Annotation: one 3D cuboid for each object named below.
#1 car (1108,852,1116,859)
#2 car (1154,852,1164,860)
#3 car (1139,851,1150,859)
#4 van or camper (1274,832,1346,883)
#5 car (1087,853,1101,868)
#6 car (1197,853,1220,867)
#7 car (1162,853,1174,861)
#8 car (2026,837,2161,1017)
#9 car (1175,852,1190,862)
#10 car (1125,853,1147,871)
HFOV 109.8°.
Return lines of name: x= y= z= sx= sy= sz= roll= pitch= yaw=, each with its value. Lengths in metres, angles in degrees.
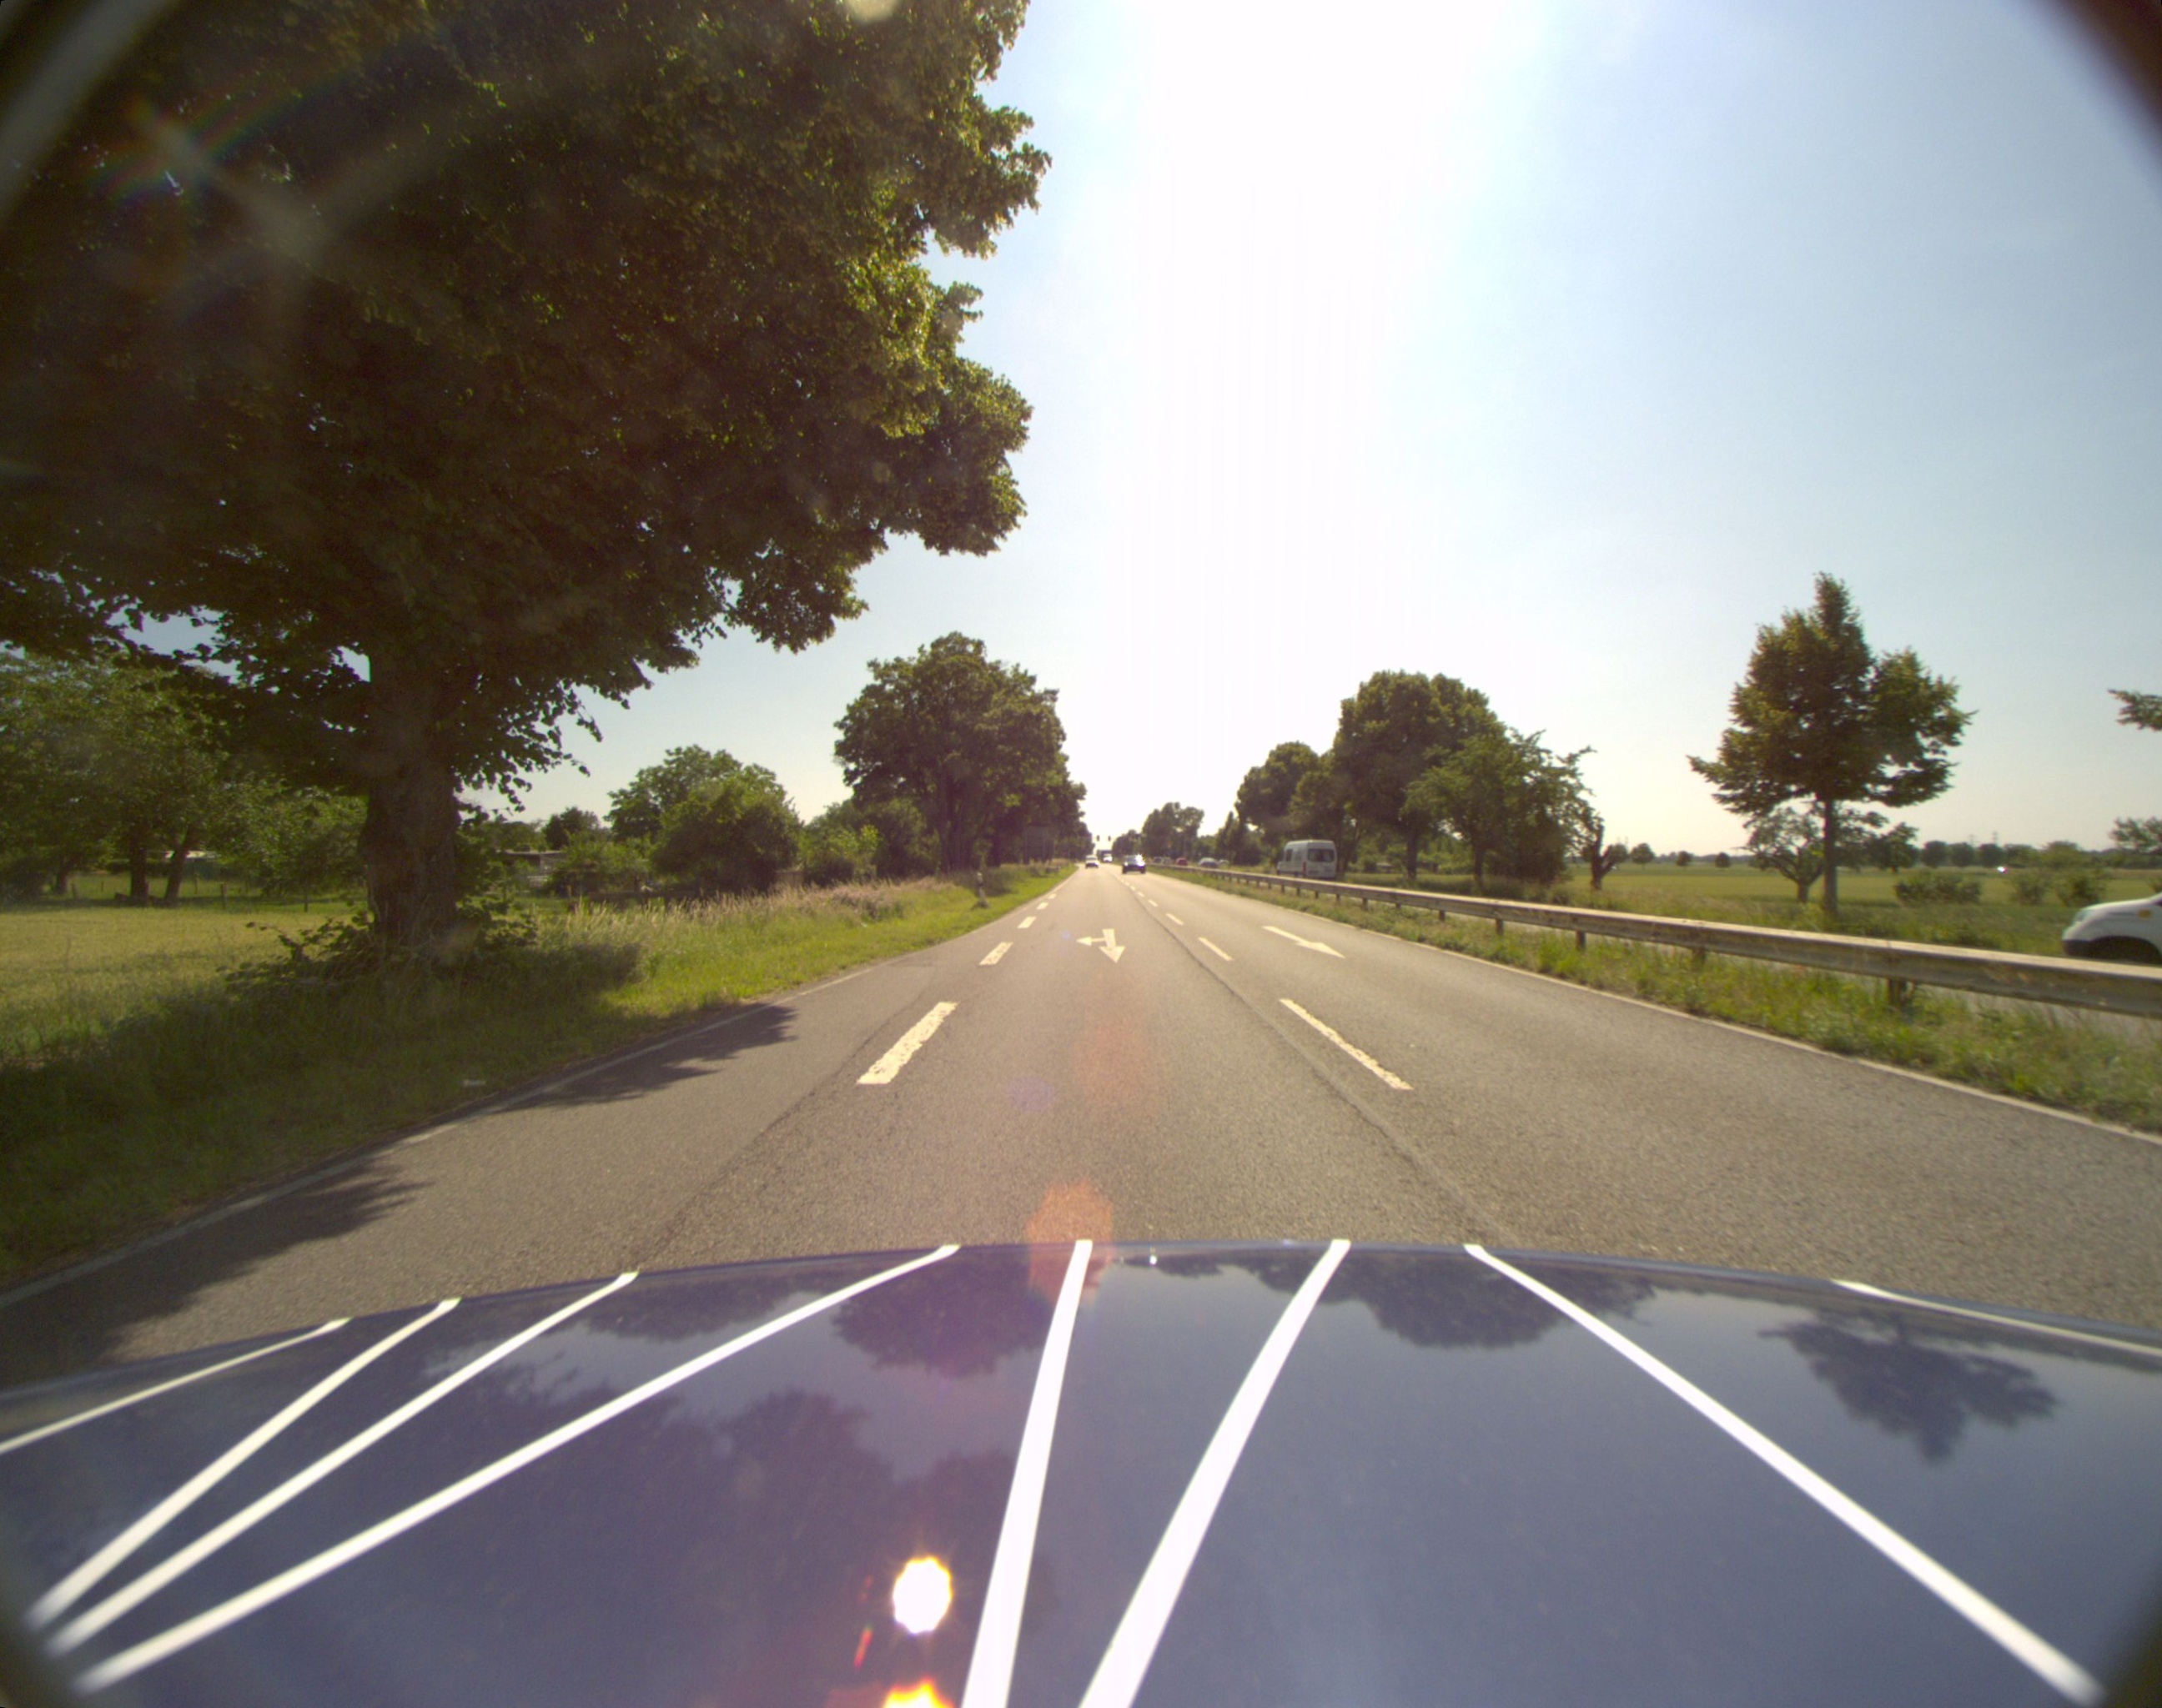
car: x=7.712 y=0.270 z=192.227 sx=1.886 sy=1.775 sz=4.000 roll=0 pitch=0 yaw=1
car: x=16.015 y=0.330 z=155.733 sx=1.765 sy=1.581 sz=3.894 roll=0 pitch=0 yaw=0
car: x=12.569 y=0.146 z=150.013 sx=1.765 sy=1.581 sz=3.750 roll=0 pitch=0 yaw=0
van or camper: x=13.941 y=0.189 z=46.780 sx=2.391 sy=2.931 sz=7.091 roll=0 pitch=0 yaw=1
car: x=1.776 y=0.873 z=103.741 sx=1.777 sy=1.863 sz=4.581 roll=0 pitch=0 yaw=0
car: x=14.982 y=0.728 z=89.585 sx=1.960 sy=1.581 sz=4.865 roll=0 pitch=0 yaw=0
car: x=16.028 y=0.538 z=140.075 sx=1.765 sy=1.581 sz=3.894 roll=0 pitch=0 yaw=0
car: x=13.027 y=0.821 z=7.382 sx=2.043 sy=2.002 sz=4.532 roll=0 pitch=0 yaw=0
car: x=15.612 y=0.458 z=116.931 sx=1.765 sy=1.581 sz=3.894 roll=0 pitch=0 yaw=0
car: x=4.890 y=0.681 z=67.579 sx=1.860 sy=1.507 sz=4.100 roll=0 pitch=1 yaw=3
